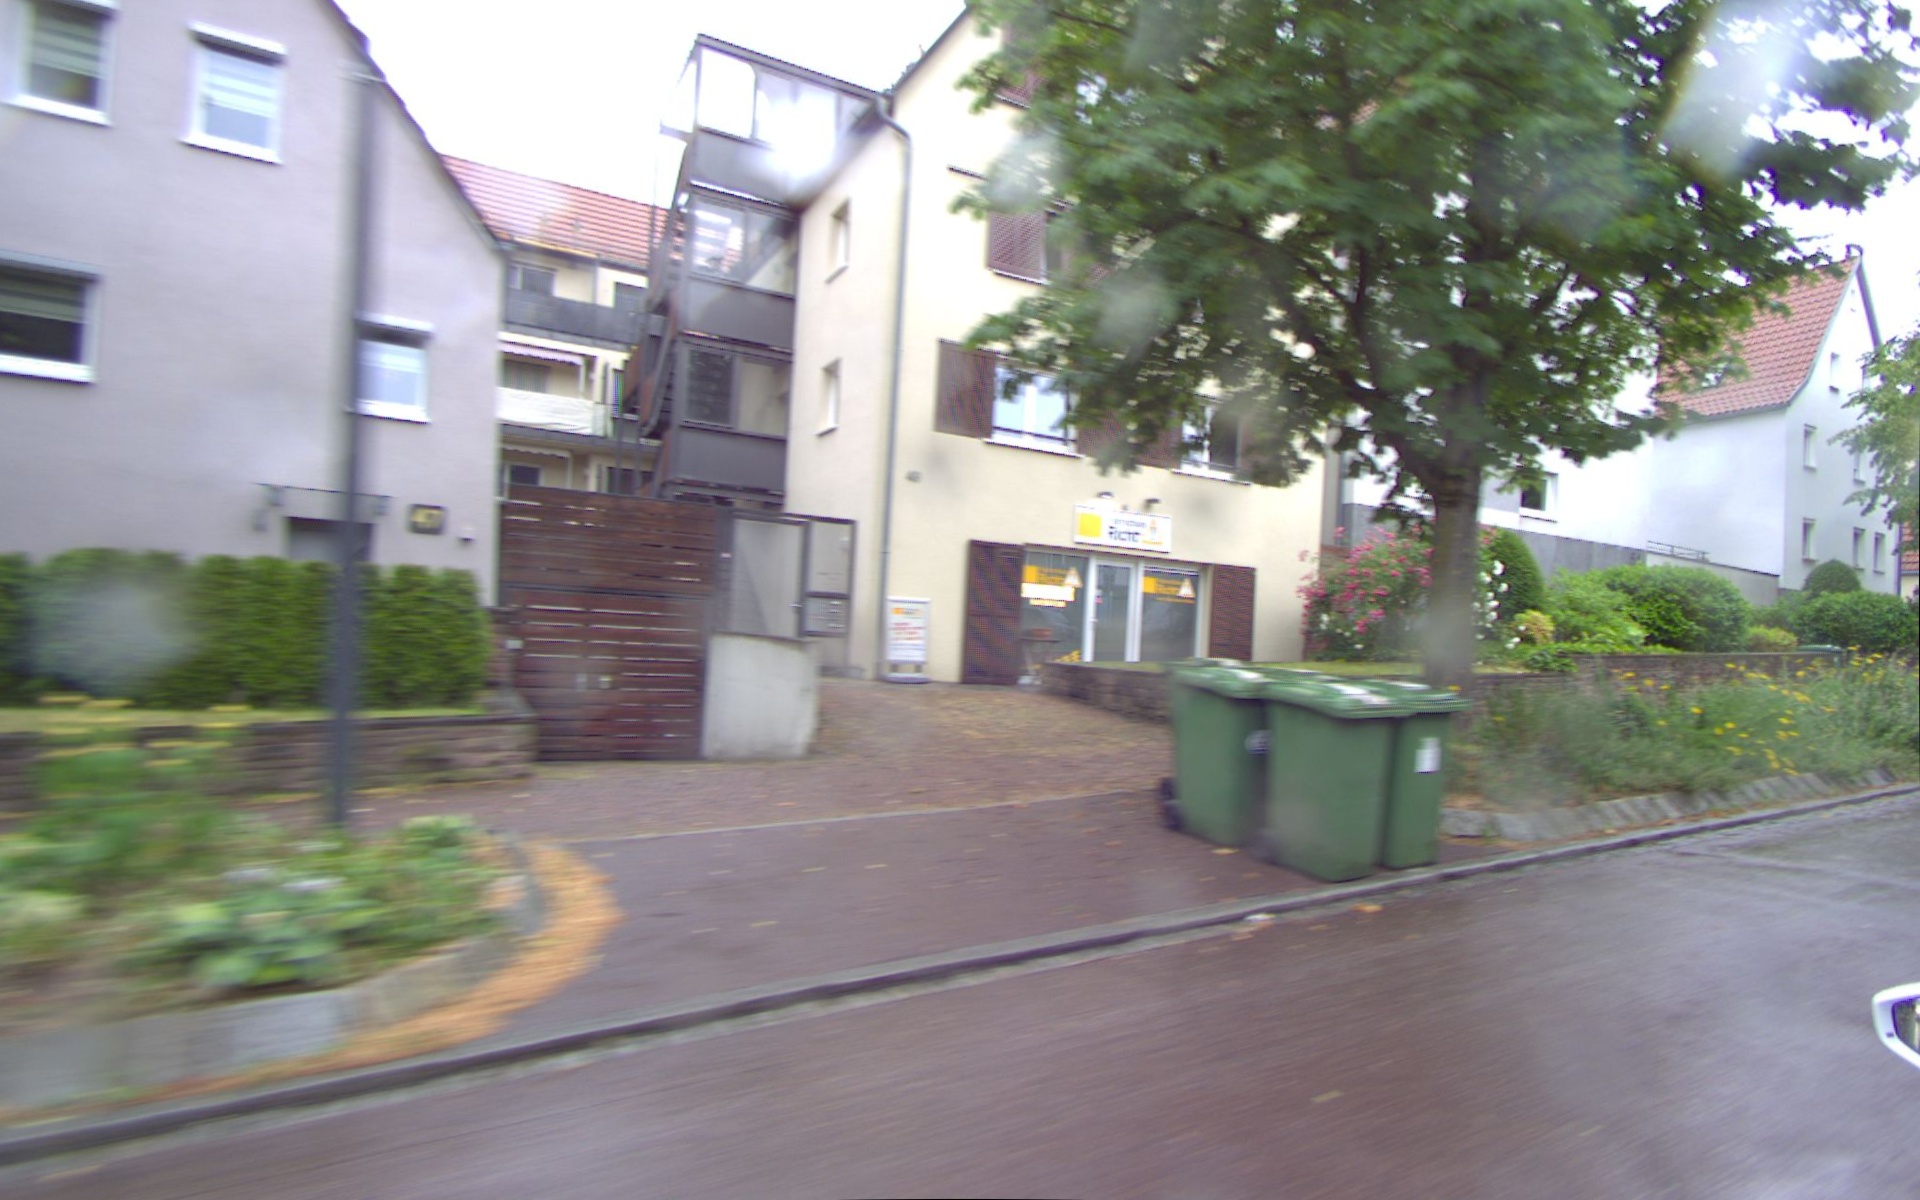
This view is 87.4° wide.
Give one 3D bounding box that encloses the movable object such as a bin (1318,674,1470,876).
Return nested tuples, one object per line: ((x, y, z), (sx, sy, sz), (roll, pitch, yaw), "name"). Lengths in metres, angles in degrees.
((2.639, 1.030, 6.130), (0.564, 1.091, 0.580), (2, 2, -32), "movable object such as a bin")

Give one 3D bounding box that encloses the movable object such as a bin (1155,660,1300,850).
((1.703, 0.954, 6.422), (0.575, 1.075, 0.620), (2, 2, -31), "movable object such as a bin")

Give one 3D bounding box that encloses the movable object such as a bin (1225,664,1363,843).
((2.235, 0.997, 6.746), (0.562, 1.073, 0.613), (2, 2, -31), "movable object such as a bin")

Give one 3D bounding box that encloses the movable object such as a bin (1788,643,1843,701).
((17.755, 1.488, 20.856), (0.651, 1.148, 0.660), (2, 0, -28), "movable object such as a bin")

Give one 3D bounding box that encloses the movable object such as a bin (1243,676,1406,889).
((2.097, 1.012, 5.812), (0.558, 1.073, 0.624), (2, 2, -31), "movable object such as a bin")

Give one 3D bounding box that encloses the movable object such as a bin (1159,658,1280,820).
((1.883, 0.978, 7.311), (0.555, 1.073, 0.613), (2, 0, -31), "movable object such as a bin")
